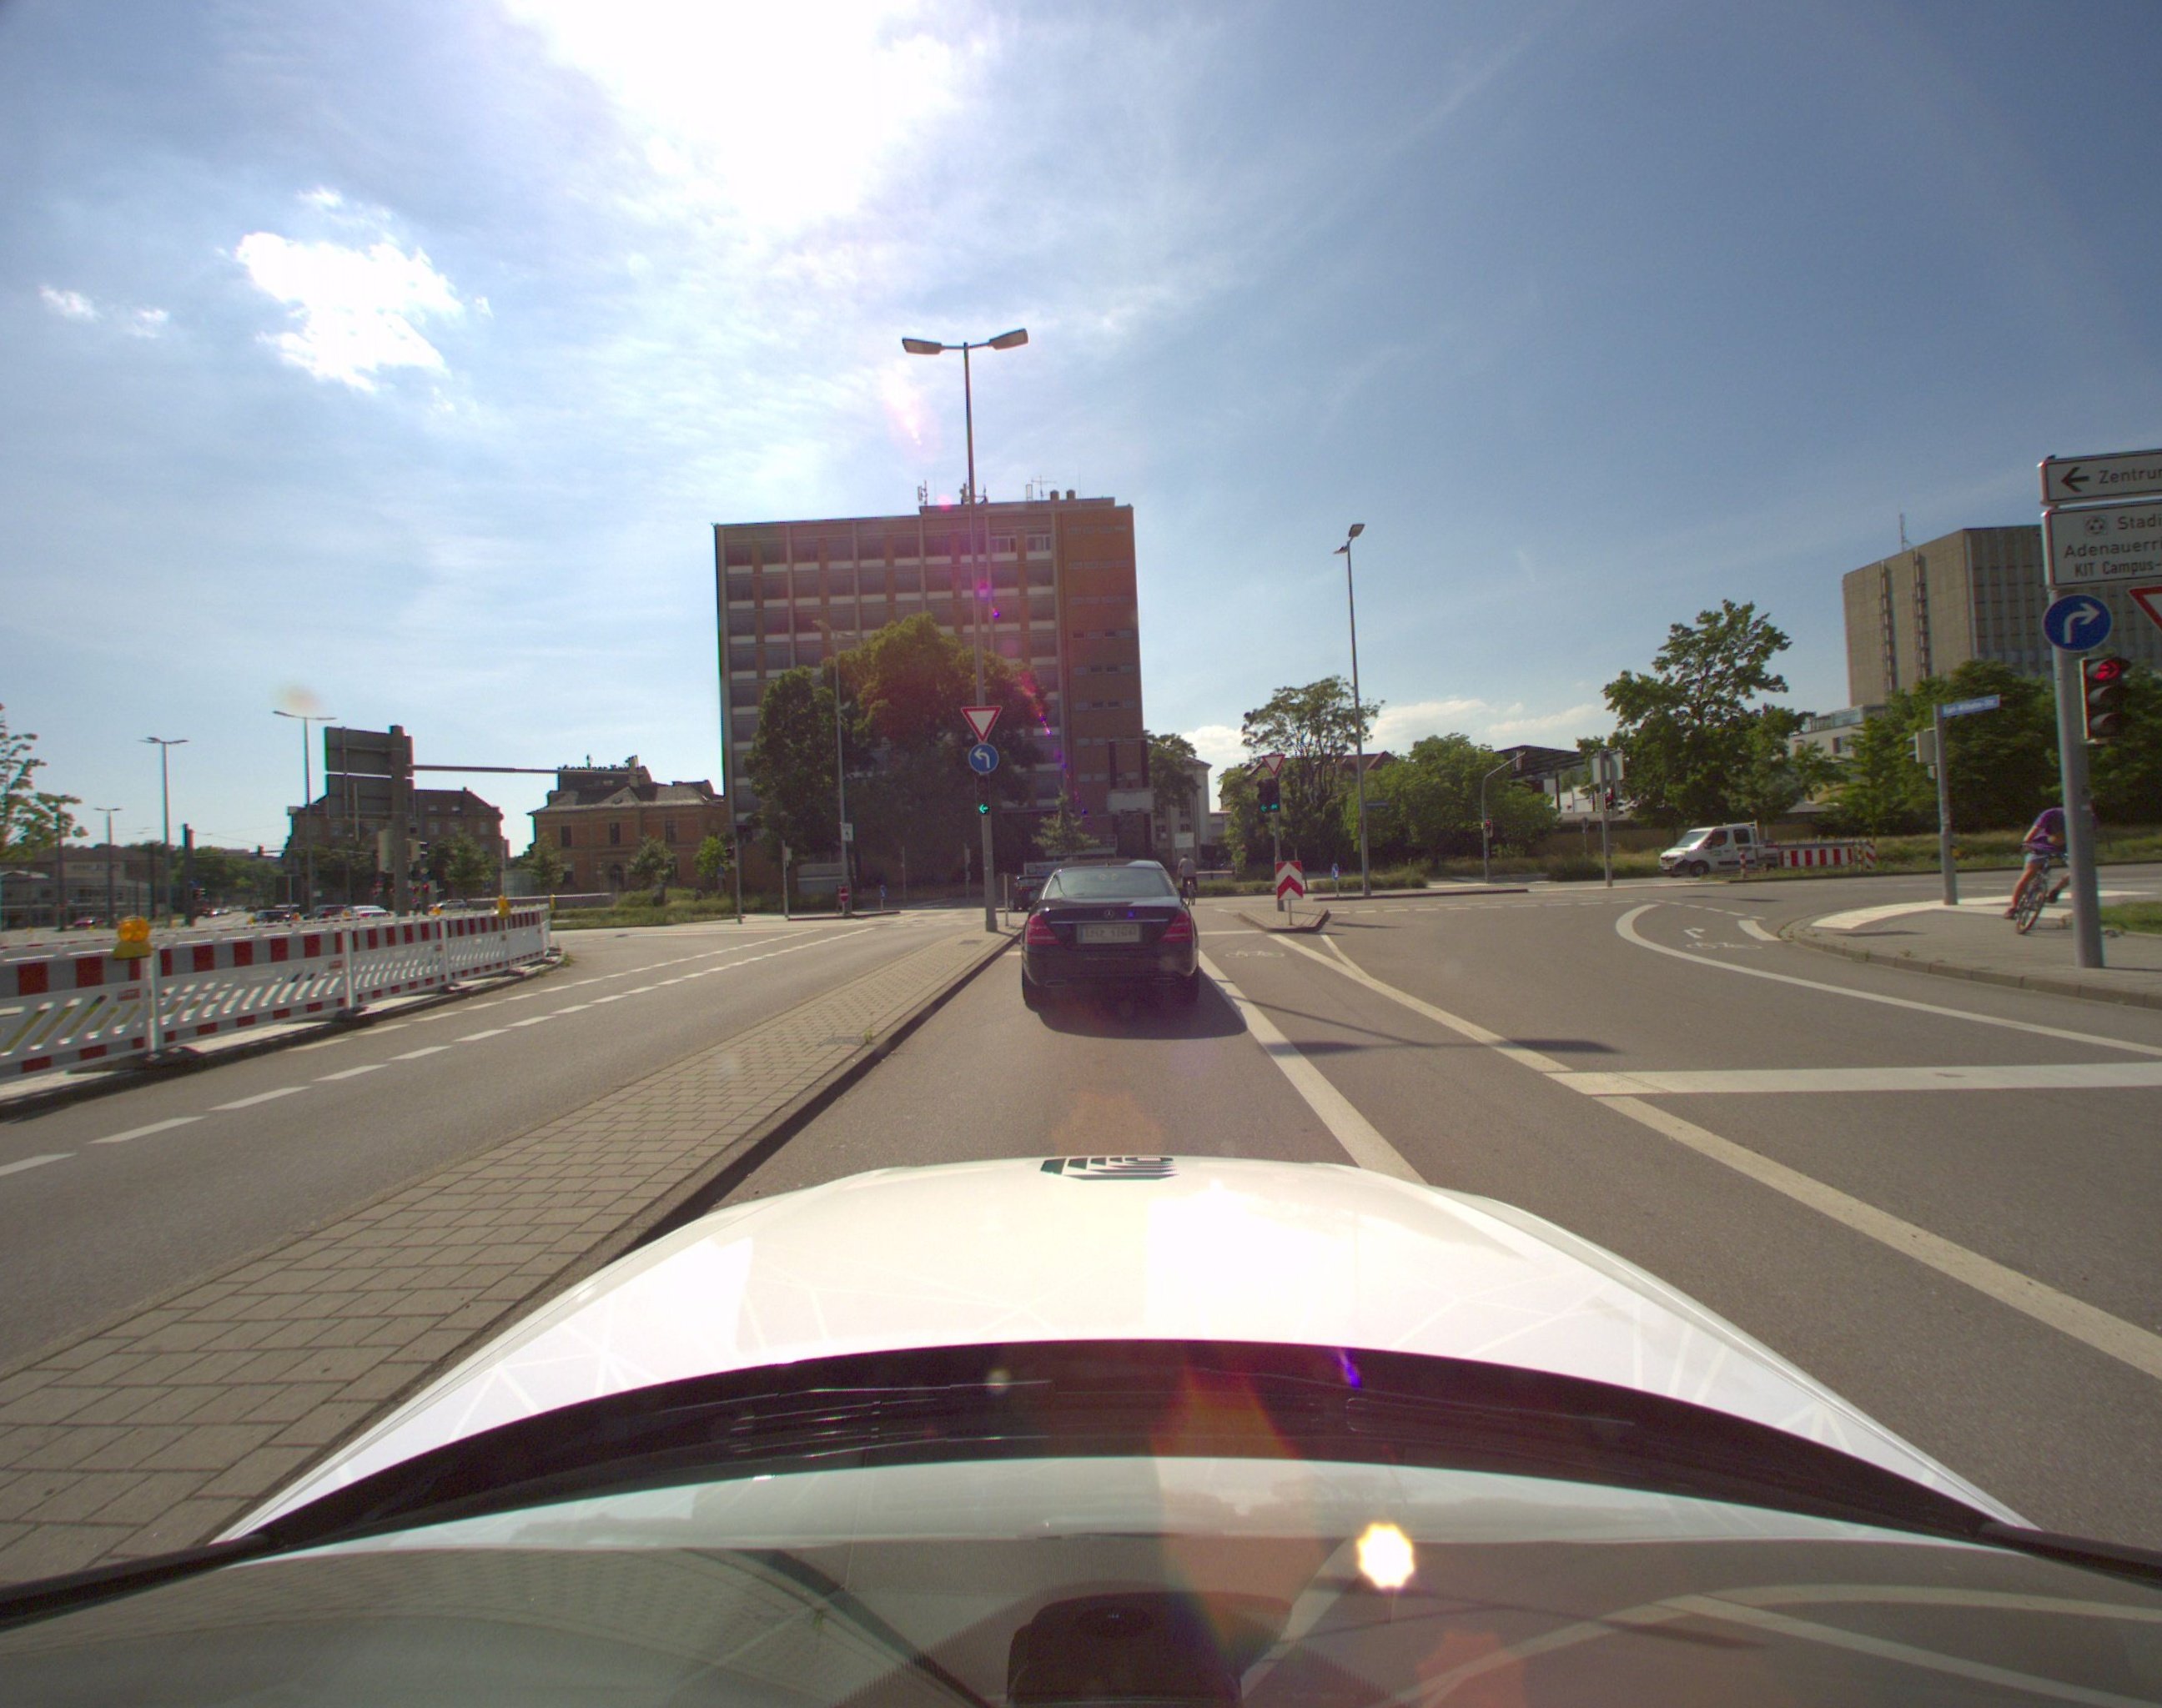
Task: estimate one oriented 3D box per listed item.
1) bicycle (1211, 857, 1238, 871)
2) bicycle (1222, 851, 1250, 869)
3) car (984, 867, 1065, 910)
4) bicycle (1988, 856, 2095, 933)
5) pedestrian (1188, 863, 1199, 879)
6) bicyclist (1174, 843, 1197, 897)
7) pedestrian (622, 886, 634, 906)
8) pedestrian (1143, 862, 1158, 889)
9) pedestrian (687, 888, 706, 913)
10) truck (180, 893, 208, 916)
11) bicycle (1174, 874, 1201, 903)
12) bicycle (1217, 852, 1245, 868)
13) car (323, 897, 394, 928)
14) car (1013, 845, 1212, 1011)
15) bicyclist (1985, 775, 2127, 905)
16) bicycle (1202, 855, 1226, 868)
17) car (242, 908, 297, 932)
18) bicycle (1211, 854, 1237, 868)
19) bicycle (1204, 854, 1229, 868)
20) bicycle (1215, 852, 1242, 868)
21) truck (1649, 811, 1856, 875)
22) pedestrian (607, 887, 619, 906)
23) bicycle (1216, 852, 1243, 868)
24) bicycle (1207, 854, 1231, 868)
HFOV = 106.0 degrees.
[{"bbox_3d":[16.491,1.138,93.535,2.813,1.537,0.842,-3,-1,1],"label":"bicycle"},{"bbox_3d":[16.914,0.634,88.997,2.813,1.744,0.842,-3,-1,1],"label":"bicycle"},{"bbox_3d":[-2.283,1.377,31.909,1.803,1.510,3.965,-1,-3,-26],"label":"car"},{"bbox_3d":[12.813,0.513,10.849,1.940,0.887,0.678,-2,-1,-34],"label":"bicycle"},{"bbox_3d":[8.205,1.232,59.239,0.788,1.214,0.759,-1,-1,8],"label":"pedestrian"},{"bbox_3d":[3.731,0.565,29.090,0.683,1.878,0.859,-1,-1,0],"label":"bicyclist"},{"bbox_3d":[-40.223,3.724,72.336,0.642,1.661,0.654,-1,-1,28],"label":"pedestrian"},{"bbox_3d":[4.190,1.316,49.151,0.807,1.579,0.693,-3,-1,3],"label":"pedestrian"},{"bbox_3d":[-27.482,3.300,58.187,0.790,1.725,0.878,-3,-2,24],"label":"pedestrian"},{"bbox_3d":[-154.795,8.909,142.090,7.827,3.730,3.093,-4,-2,41],"label":"truck"},{"bbox_3d":[3.753,1.205,28.849,0.690,0.946,1.958,0,-1,0],"label":"bicycle"},{"bbox_3d":[16.642,0.661,90.346,2.813,1.649,0.842,-3,-1,1],"label":"bicycle"},{"bbox_3d":[-47.995,3.863,54.085,3.951,1.816,2.011,-3,-1,24],"label":"car"},{"bbox_3d":[0.378,0.730,9.998,1.851,1.530,4.715,-1,-1,2],"label":"car"},{"bbox_3d":[13.021,-0.168,10.917,0.485,1.637,1.084,-3,-1,-1],"label":"bicyclist"},{"bbox_3d":[16.545,0.896,101.453,2.812,1.480,0.842,-3,-1,2],"label":"bicycle"},{"bbox_3d":[-55.682,4.526,55.878,3.948,1.510,1.811,-4,-2,32],"label":"car"},{"bbox_3d":[16.553,0.815,94.493,2.813,1.507,0.842,-3,-1,1],"label":"bicycle"},{"bbox_3d":[16.237,0.865,97.654,2.813,1.559,0.842,-3,-1,1],"label":"bicycle"},{"bbox_3d":[16.610,0.667,91.533,2.813,1.659,0.842,-3,1,1],"label":"bicycle"},{"bbox_3d":[29.776,-0.433,36.312,6.997,2.356,2.414,-3,-2,2],"label":"truck"},{"bbox_3d":[-44.254,4.019,77.037,0.644,1.661,0.652,-3,-2,9],"label":"pedestrian"},{"bbox_3d":[16.854,0.690,92.529,2.813,1.587,0.842,-3,-1,1],"label":"bicycle"},{"bbox_3d":[16.896,0.869,99.700,2.813,1.500,0.842,-3,-1,1],"label":"bicycle"}]
